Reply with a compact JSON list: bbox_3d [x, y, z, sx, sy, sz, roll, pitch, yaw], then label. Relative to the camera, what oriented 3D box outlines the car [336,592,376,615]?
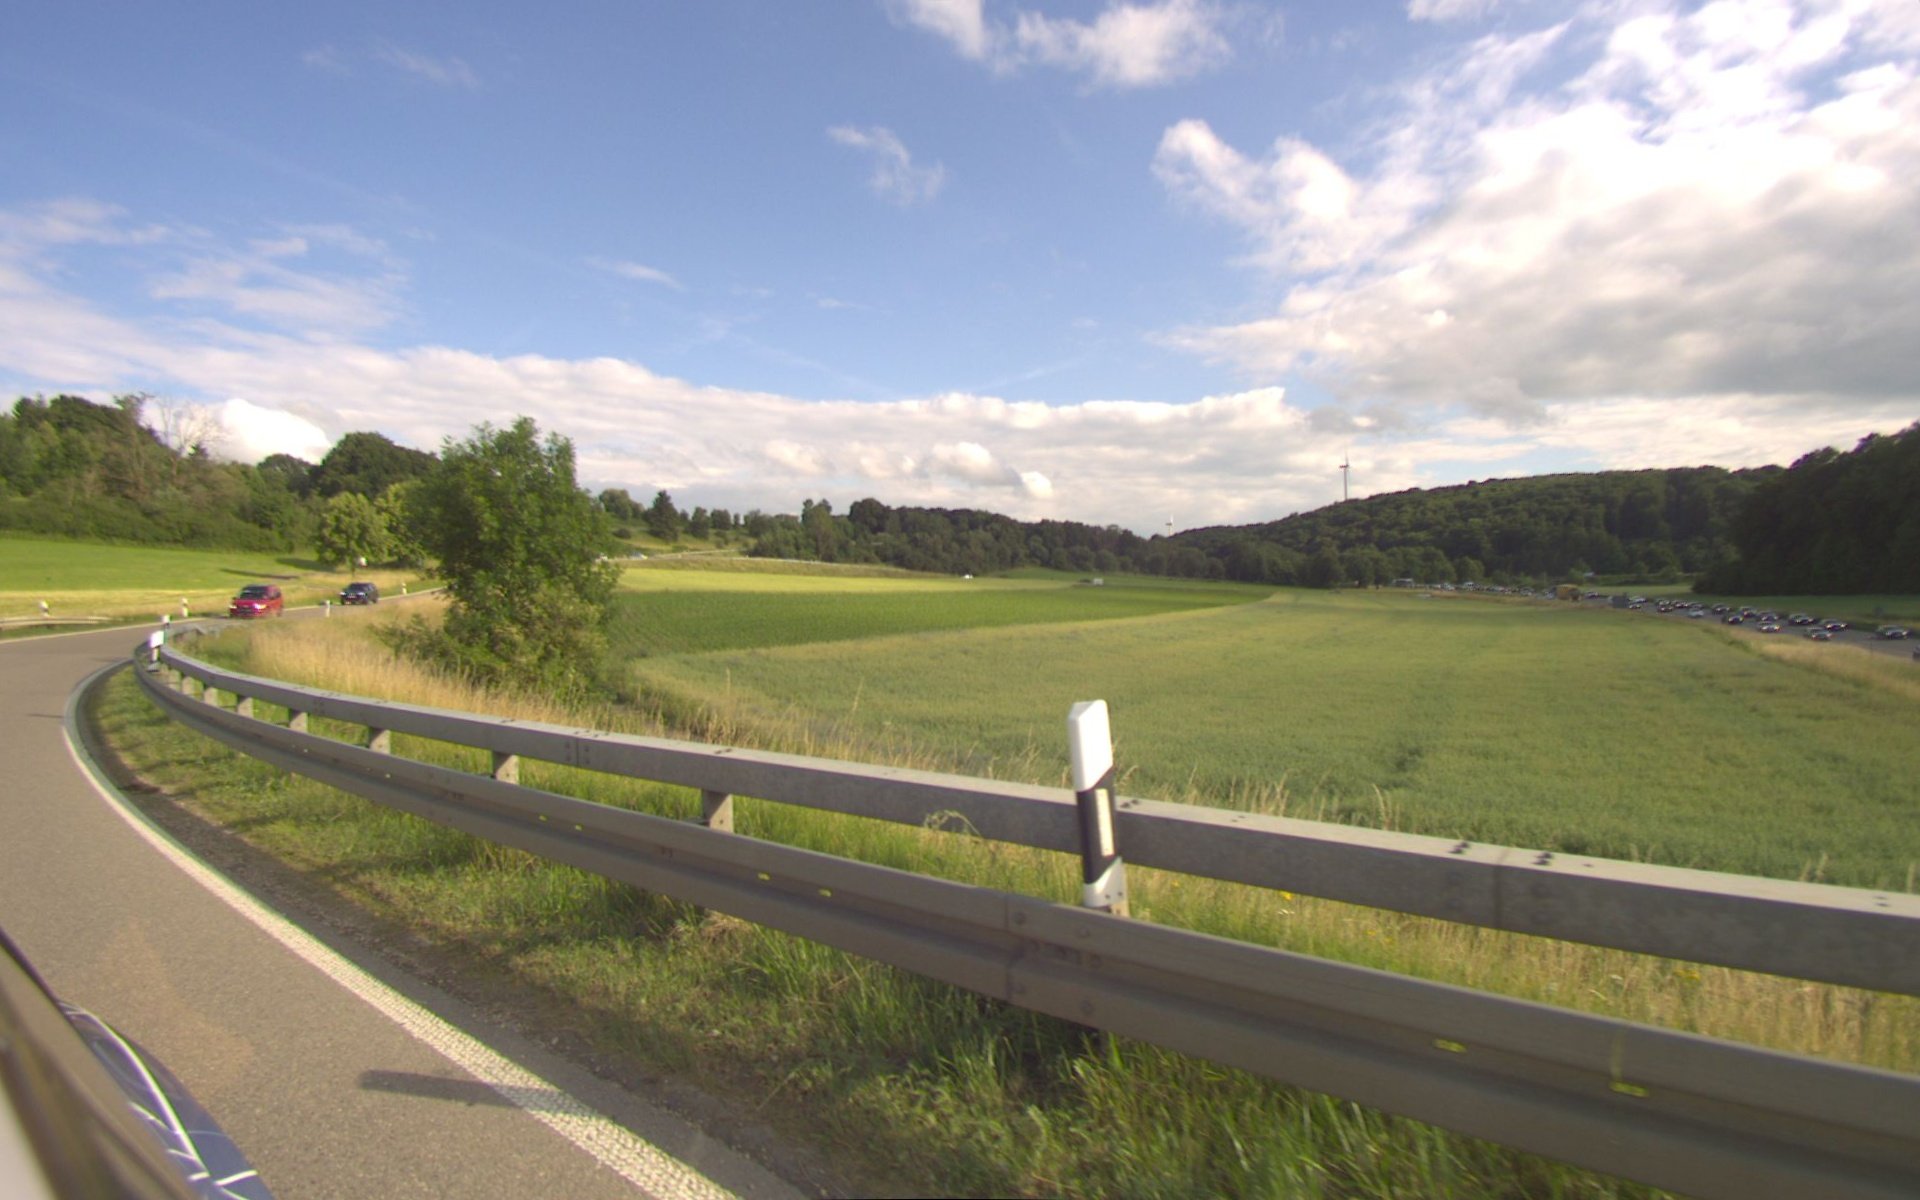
[{"bbox_3d":[-46.577,0.259,78.087,1.791,1.623,4.013,1,0,-18],"label":"car"}]

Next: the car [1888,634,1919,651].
[{"bbox_3d":[102.392,4.611,109.731,1.795,1.599,3.960,0,1,30],"label":"car"}]

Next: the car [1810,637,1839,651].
[{"bbox_3d":[98.732,5.022,115.637,1.822,1.453,3.958,-1,0,31],"label":"car"}]

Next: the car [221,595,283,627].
[{"bbox_3d":[-38.908,0.587,55.734,1.791,1.667,4.013,0,1,-19],"label":"car"}]
